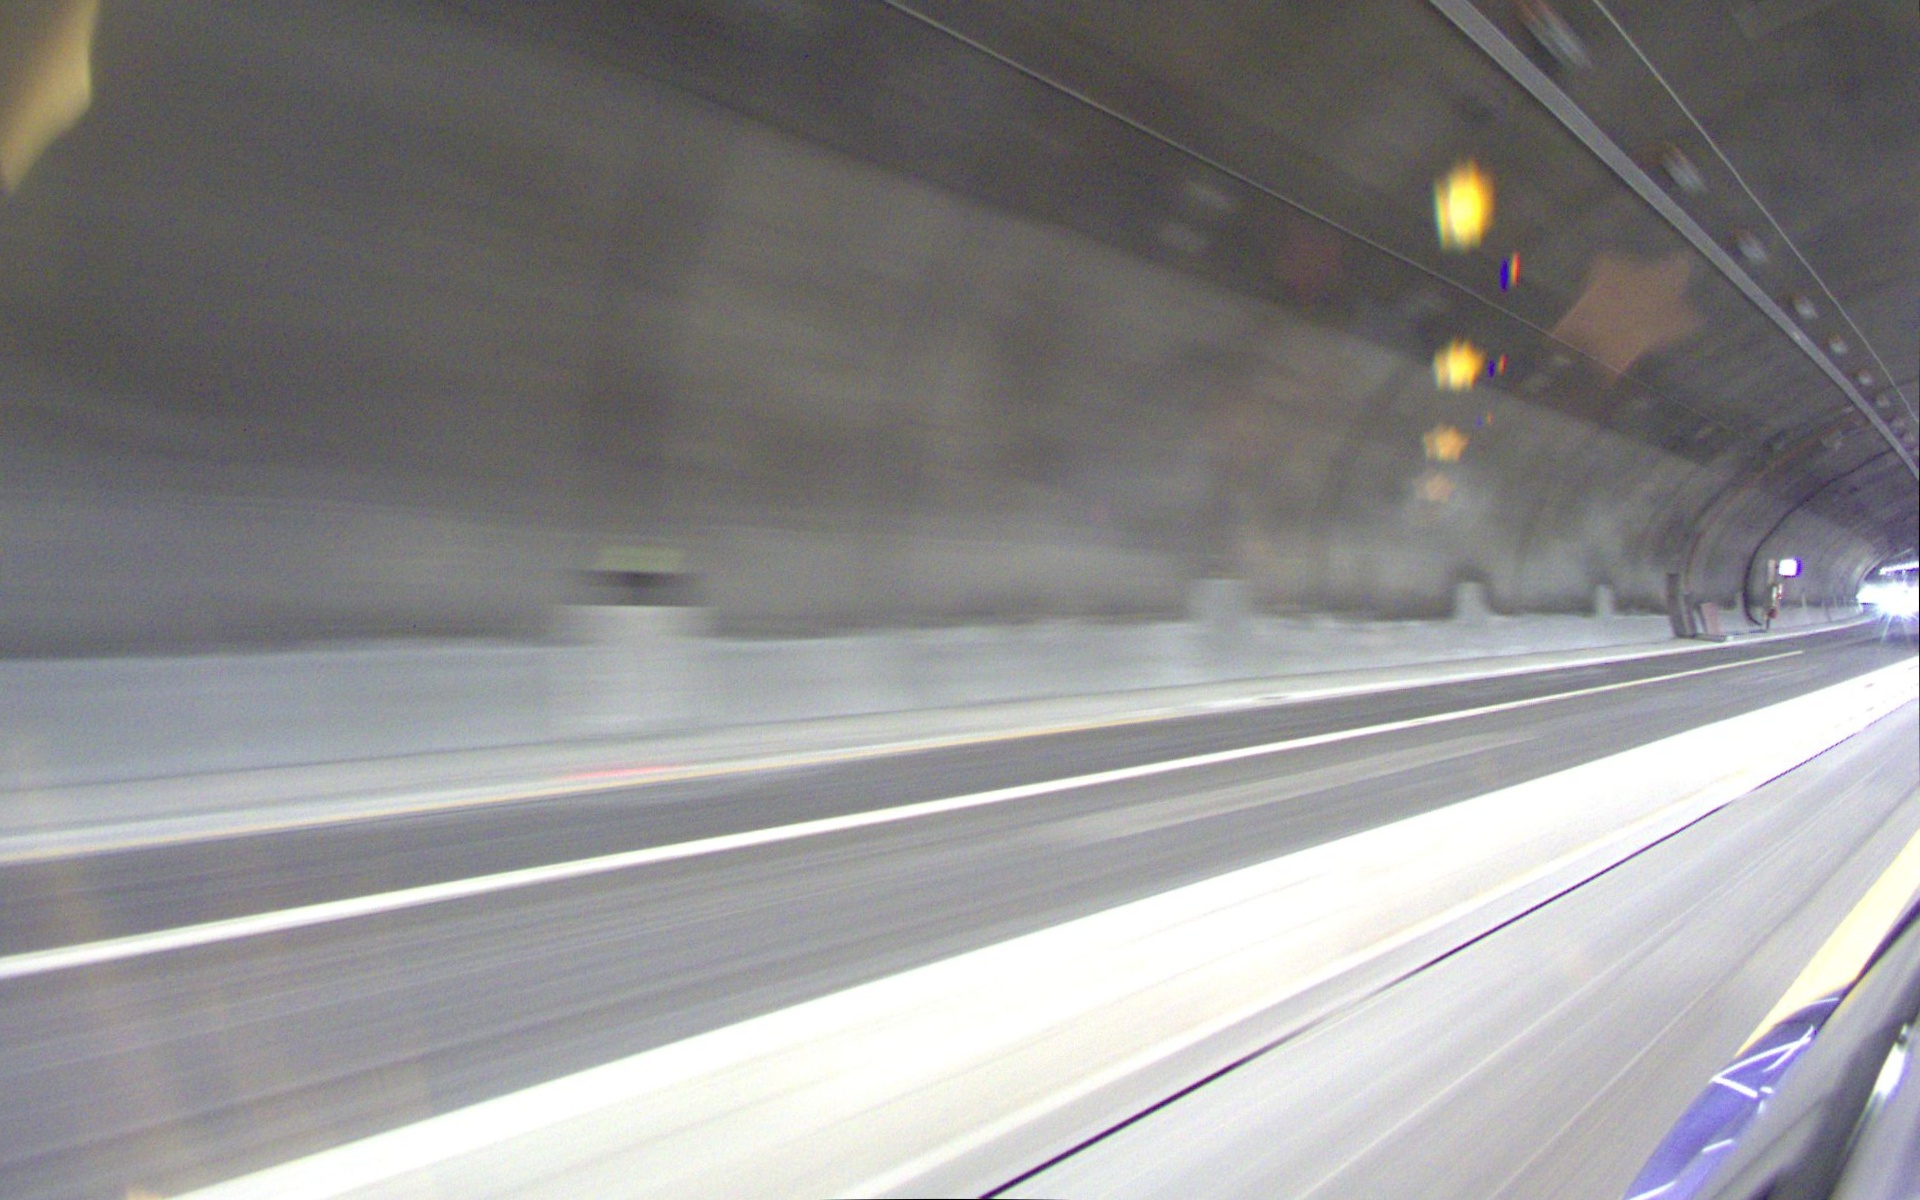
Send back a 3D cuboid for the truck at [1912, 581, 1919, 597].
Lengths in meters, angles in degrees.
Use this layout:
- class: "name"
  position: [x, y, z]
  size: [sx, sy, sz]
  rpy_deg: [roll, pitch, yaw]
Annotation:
- class: "truck"
  position: [161.203, -1.832, 169.257]
  size: [2.599, 2.774, 6.305]
  rpy_deg: [0, 0, 40]
